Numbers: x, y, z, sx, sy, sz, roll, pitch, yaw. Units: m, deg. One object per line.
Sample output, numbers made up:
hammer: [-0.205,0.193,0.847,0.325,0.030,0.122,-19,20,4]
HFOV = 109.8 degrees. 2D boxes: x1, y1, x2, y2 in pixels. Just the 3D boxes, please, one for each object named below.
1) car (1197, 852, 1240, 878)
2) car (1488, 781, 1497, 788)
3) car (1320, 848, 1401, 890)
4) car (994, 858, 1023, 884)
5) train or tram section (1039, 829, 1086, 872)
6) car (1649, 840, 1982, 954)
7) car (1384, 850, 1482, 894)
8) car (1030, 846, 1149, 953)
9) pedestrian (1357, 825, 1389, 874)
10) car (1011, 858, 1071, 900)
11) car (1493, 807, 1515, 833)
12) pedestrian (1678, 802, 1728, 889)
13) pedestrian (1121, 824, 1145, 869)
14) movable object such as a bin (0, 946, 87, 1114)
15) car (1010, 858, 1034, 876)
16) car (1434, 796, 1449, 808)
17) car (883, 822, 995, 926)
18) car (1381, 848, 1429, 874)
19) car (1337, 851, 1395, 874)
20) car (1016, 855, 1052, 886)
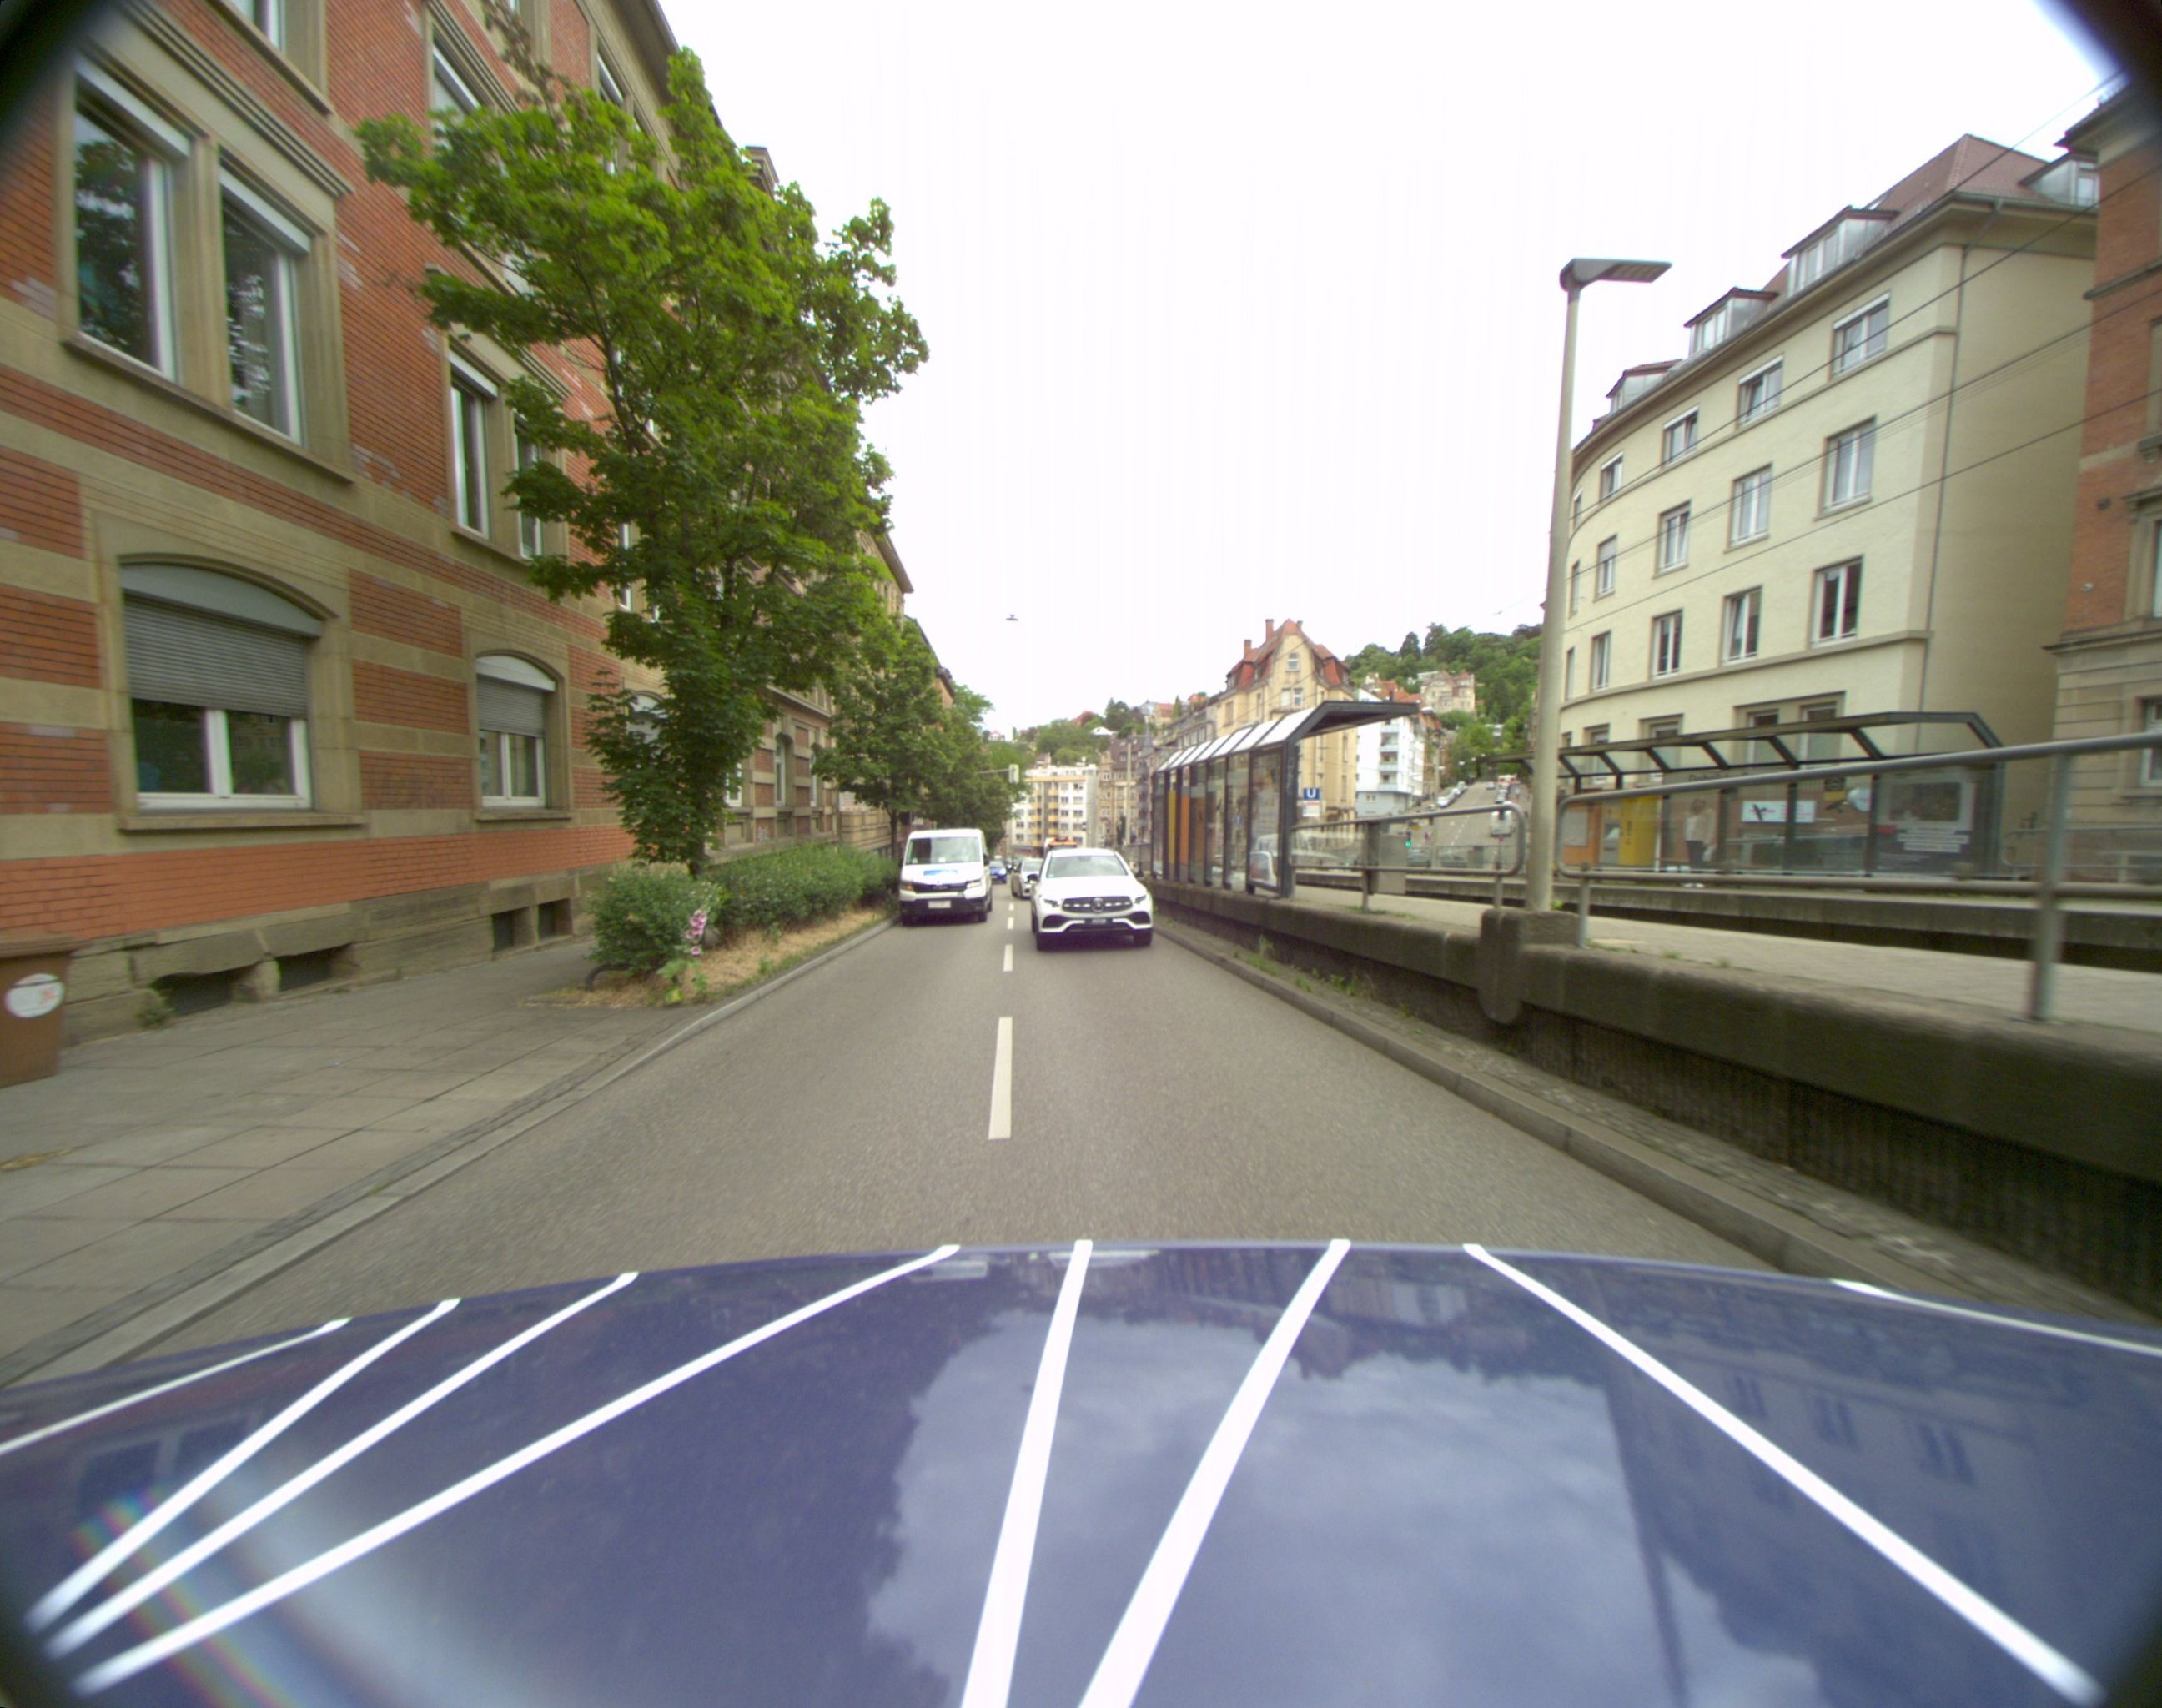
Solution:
car: [9.618,0.763,53.405,1.851,1.723,4.378,0,0,-5]
car: [89.385,-15.150,165.196,1.643,1.453,3.312,0,7,30]
car: [12.273,0.620,33.614,1.828,1.754,3.861,0,0,-6]
car: [-4.328,0.987,45.752,1.695,1.466,3.855,0,0,-5]
train or tram section: [-1.891,-0.261,68.815,2.969,3.456,14.399,0,0,-6]
car: [13.894,0.699,14.846,2.000,1.884,4.412,0,0,-6]
car: [14.824,0.725,32.305,1.851,1.723,4.378,0,0,-5]
car: [-0.013,0.713,14.648,1.841,1.657,4.668,-2,1,-5]
pedestrian: [10.227,-0.157,26.619,0.767,1.678,0.843,0,0,-4]
car: [-1.575,0.873,28.412,1.807,1.391,3.997,-1,0,-9]
car: [45.650,-3.690,81.925,1.994,2.465,4.003,0,7,30]
pedestrian: [11.324,-0.146,13.842,0.463,1.553,0.540,0,1,-5]
pedestrian: [1.954,-0.280,28.622,0.767,1.705,0.766,0,0,-4]
movable object such as a bin: [-6.675,1.053,4.561,0.672,0.937,0.539,0,1,-1]
car: [-4.647,0.981,59.752,1.563,1.330,3.997,0,0,-9]
car: [58.603,-8.425,123.505,1.938,1.630,4.003,0,7,30]
car: [-3.511,0.443,19.994,2.264,2.274,5.964,-1,0,-5]
car: [22.409,0.477,52.479,1.846,1.723,4.390,0,0,40]
car: [21.593,0.620,57.533,4.006,1.700,1.995,0,0,-28]
car: [-2.548,0.830,40.475,1.807,1.542,3.998,-1,0,-5]
